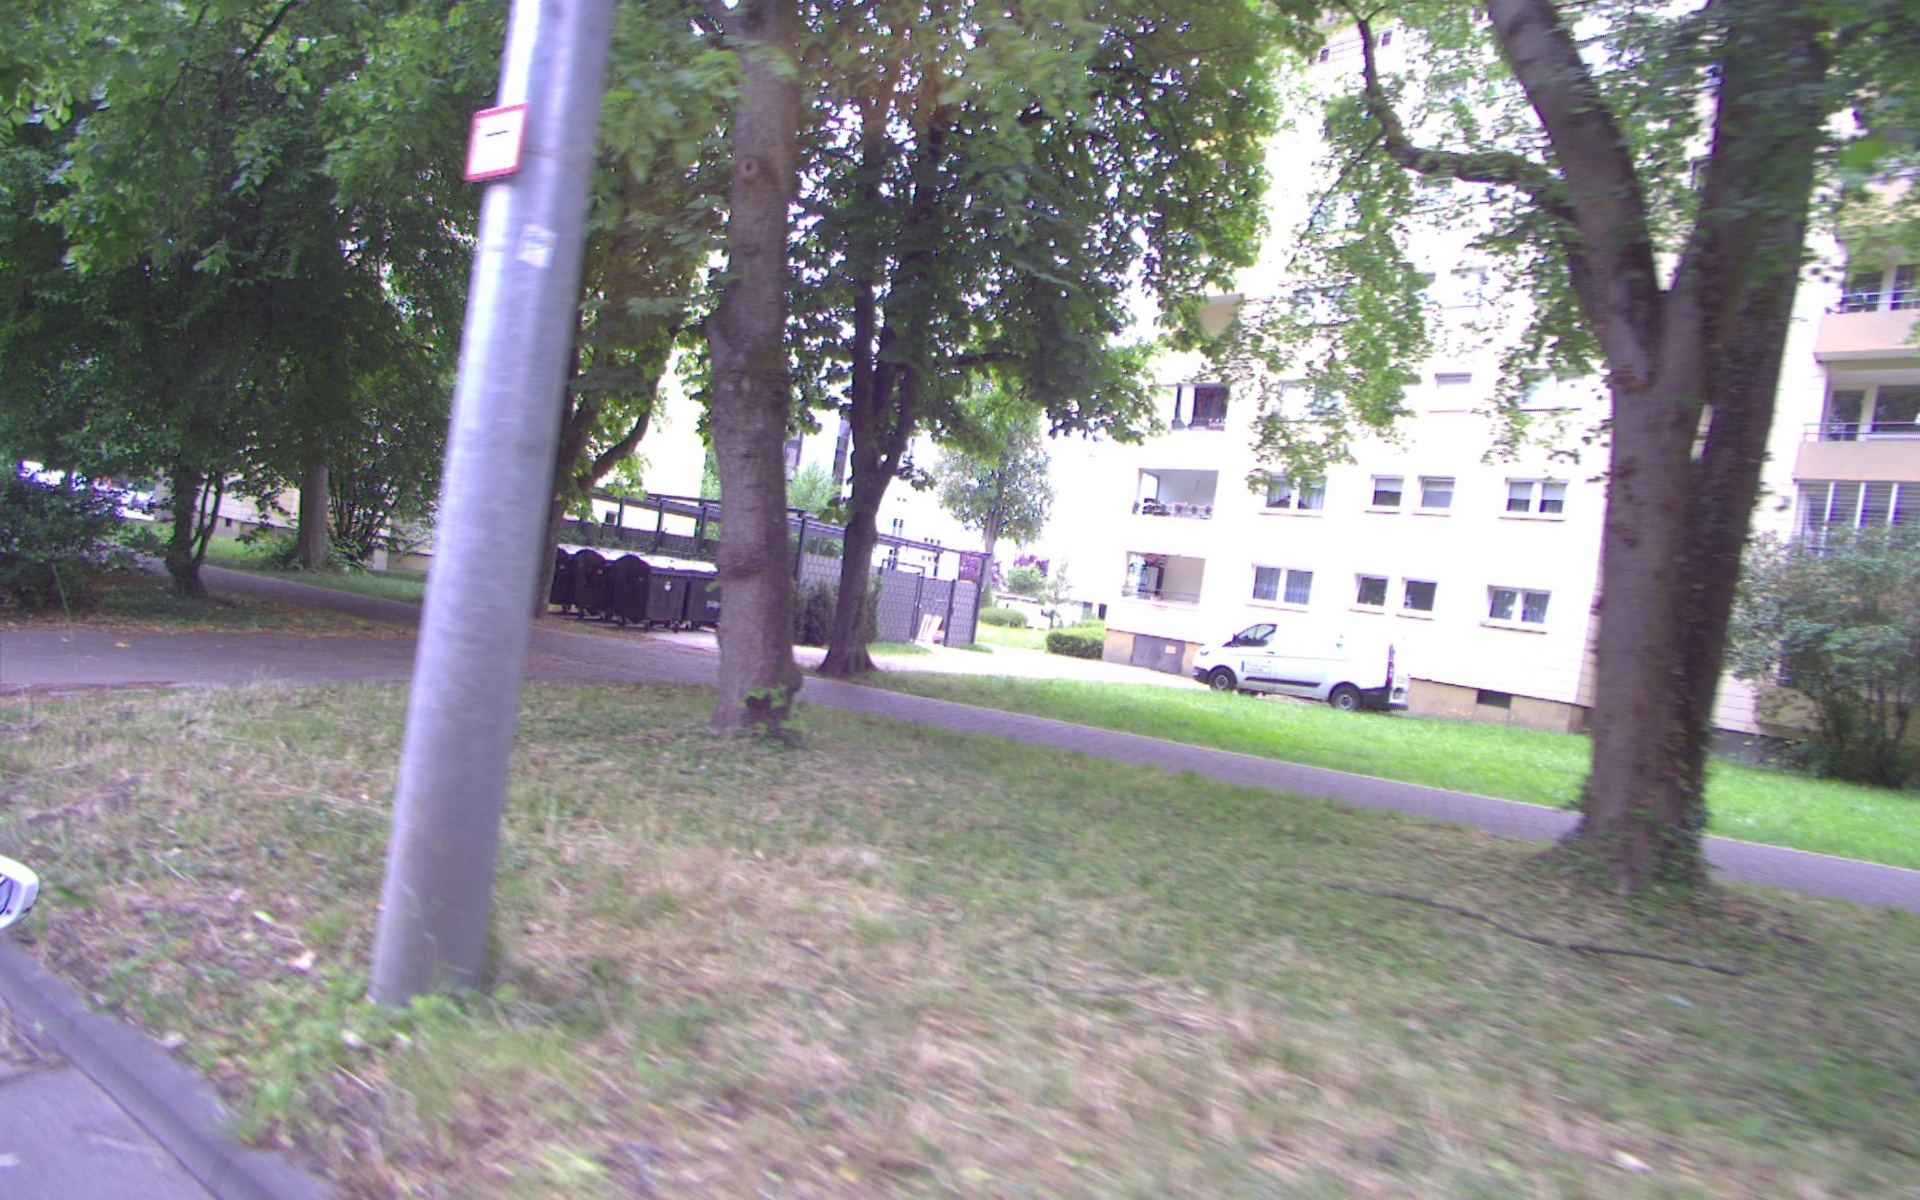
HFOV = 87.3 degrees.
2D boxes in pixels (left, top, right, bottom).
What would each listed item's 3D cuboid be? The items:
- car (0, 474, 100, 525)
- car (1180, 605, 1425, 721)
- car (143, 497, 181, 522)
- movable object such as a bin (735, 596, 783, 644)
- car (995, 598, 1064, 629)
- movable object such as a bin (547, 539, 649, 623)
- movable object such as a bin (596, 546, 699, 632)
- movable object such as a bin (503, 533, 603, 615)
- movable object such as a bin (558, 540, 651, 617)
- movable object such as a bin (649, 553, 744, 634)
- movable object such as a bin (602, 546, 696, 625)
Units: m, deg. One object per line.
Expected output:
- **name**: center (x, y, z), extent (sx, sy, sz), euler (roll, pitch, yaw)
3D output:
- **car**: center (-46.270, -5.083, 50.838), extent (3.970, 1.747, 1.781), euler (10, 1, -37)
- **car**: center (8.011, 1.423, 23.732), extent (4.890, 1.867, 2.085), euler (9, 2, 37)
- **car**: center (-59.283, -6.718, 74.767), extent (2.073, 1.529, 3.956), euler (7, 0, -39)
- **movable object such as a bin**: center (-4.141, 0.413, 20.768), extent (0.657, 0.889, 0.600), euler (8, 2, 25)
- **car**: center (4.777, 0.935, 69.346), extent (4.272, 1.529, 1.793), euler (7, 0, -17)
- **movable object such as a bin**: center (-7.492, -0.377, 20.865), extent (1.291, 1.520, 1.329), euler (8, 2, 25)
- **movable object such as a bin**: center (-6.291, -0.204, 20.289), extent (1.291, 1.520, 1.329), euler (8, 2, 25)
- **movable object such as a bin**: center (-8.671, -0.536, 21.453), extent (1.291, 1.520, 1.329), euler (8, 2, 25)
- **movable object such as a bin**: center (-8.037, -0.478, 22.797), extent (1.291, 1.520, 1.329), euler (8, 2, 25)
- **movable object such as a bin**: center (-5.631, -0.126, 21.558), extent (1.291, 1.520, 1.329), euler (8, 2, 25)
- **movable object such as a bin**: center (-6.850, -0.303, 22.185), extent (1.291, 1.520, 1.329), euler (8, 2, 25)
